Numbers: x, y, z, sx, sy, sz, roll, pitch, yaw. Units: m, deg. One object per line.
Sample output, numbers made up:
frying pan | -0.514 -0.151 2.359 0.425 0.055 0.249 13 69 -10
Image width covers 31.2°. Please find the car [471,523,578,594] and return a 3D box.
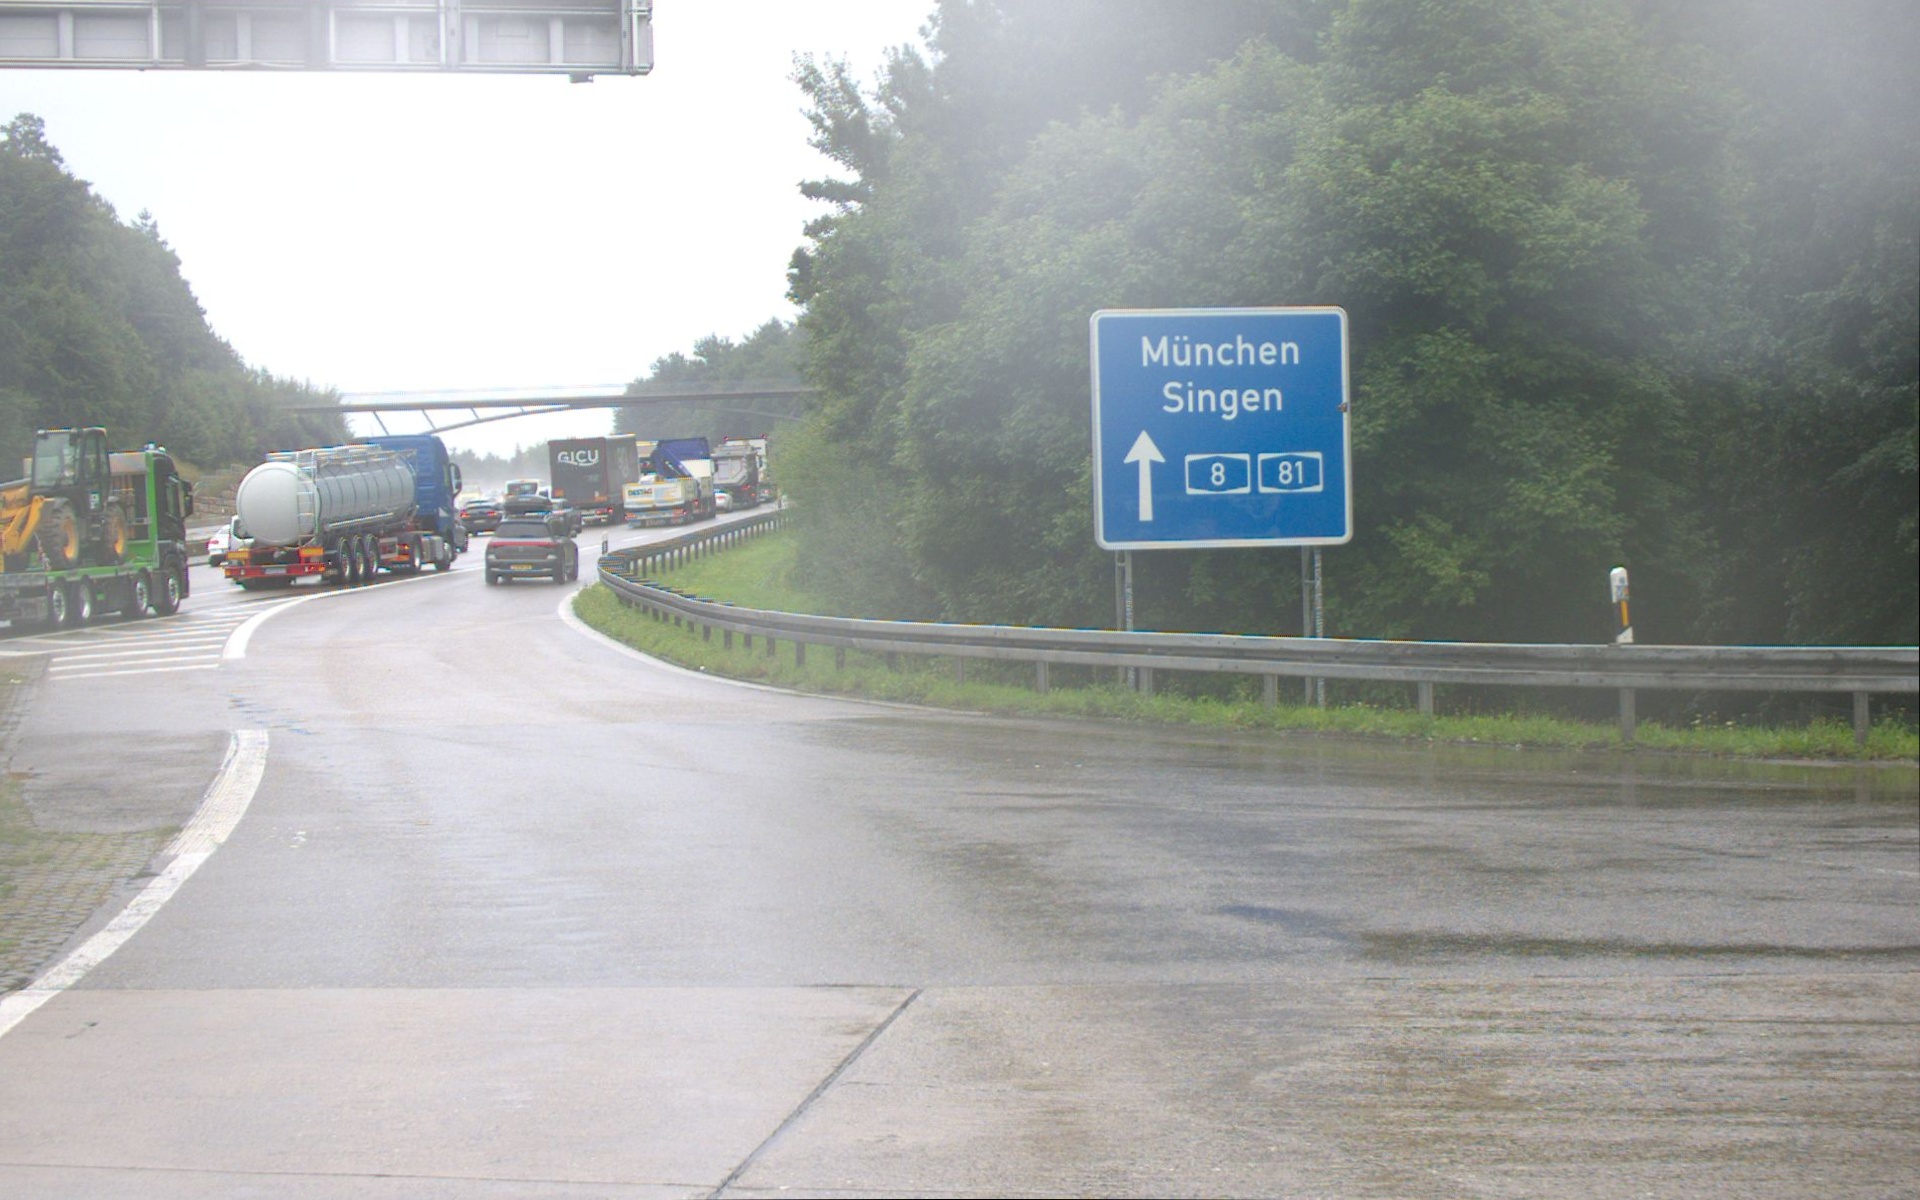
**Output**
car | -10.374 -0.997 82.080 1.993 1.630 4.000 1 1 1

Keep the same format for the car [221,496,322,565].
car | -18.887 -1.936 94.472 1.819 1.760 4.000 -2 2 2

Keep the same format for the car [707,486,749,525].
car | -11.888 -4.817 176.186 1.797 1.897 4.000 -2 1 0

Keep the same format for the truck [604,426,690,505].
truck | -17.755 -7.605 195.712 3.576 4.081 10.880 -2 1 1

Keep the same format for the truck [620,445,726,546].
truck | -12.462 -4.631 150.322 3.600 4.090 11.562 -3 2 -1

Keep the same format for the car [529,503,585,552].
car | -16.217 -2.911 138.560 1.797 1.897 4.000 1 1 0

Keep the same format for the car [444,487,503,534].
car | -20.663 -3.806 146.004 1.798 1.897 4.000 -2 1 1

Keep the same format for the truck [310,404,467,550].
truck | -15.241 -3.318 92.039 2.877 3.680 5.056 -2 2 4

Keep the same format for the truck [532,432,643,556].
truck | -17.129 -4.821 158.985 3.754 5.480 10.173 1 1 1

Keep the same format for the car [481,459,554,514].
car | -25.469 -6.524 198.185 3.246 2.992 6.773 1 1 1

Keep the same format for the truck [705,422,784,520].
truck | -13.142 -7.851 210.809 4.336 5.744 9.731 1 1 -1

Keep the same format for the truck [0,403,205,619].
truck | -16.978 -1.631 62.724 2.831 3.576 11.797 -3 2 4

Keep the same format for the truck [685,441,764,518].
truck | -12.895 -6.588 189.138 3.754 3.957 11.060 1 1 -1

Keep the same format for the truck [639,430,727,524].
truck | -13.287 -5.867 166.003 3.507 4.253 10.604 1 1 -1

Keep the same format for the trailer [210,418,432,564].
trailer | -15.687 -2.778 85.240 2.874 3.277 10.078 -2 3 4
